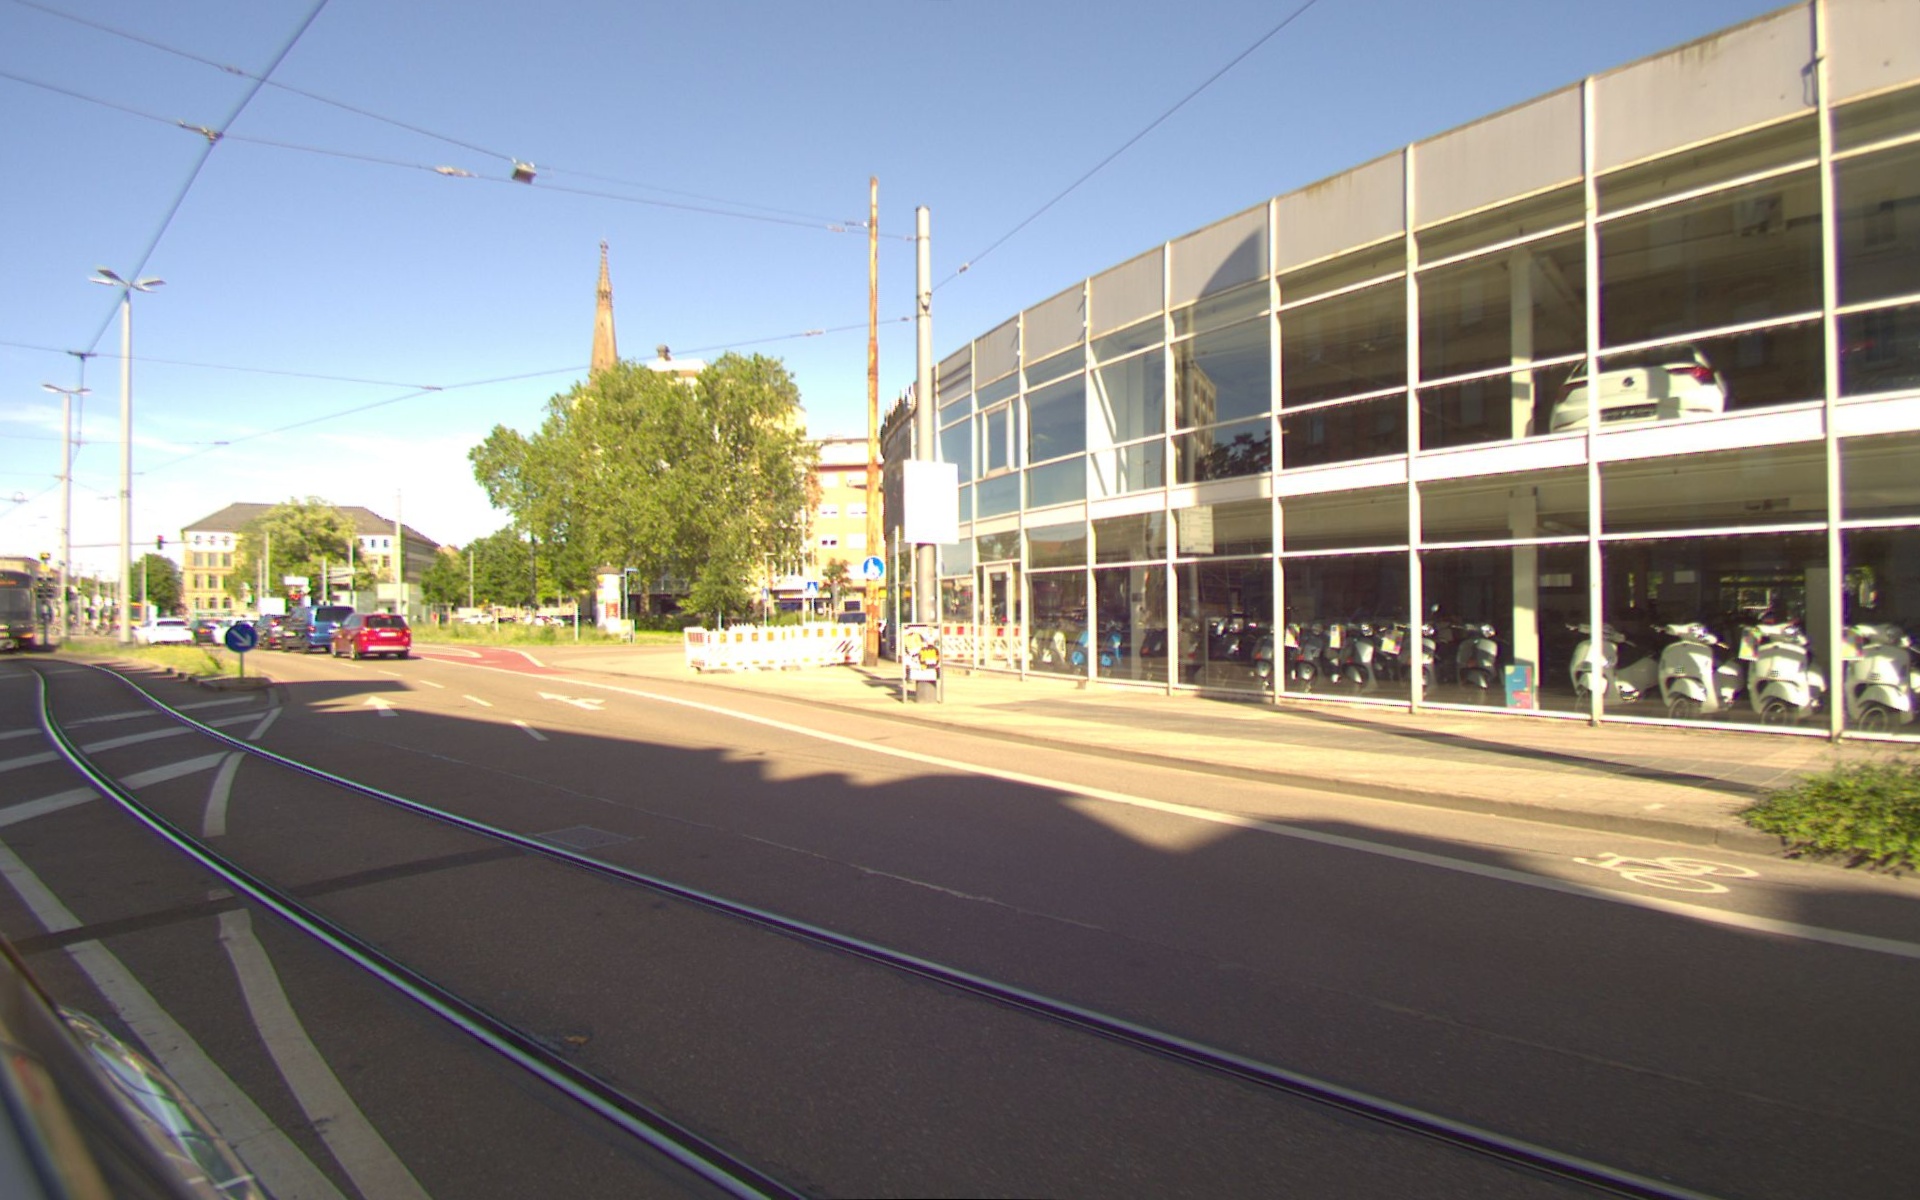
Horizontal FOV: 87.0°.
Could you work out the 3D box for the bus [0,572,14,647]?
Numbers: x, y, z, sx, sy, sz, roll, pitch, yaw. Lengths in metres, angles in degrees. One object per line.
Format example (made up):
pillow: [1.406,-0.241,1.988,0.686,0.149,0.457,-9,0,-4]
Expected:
bus: [-50.986,0.535,51.845,10.723,3.617,2.811,-1,0,42]

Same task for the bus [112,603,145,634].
bus: [-101.292,2.204,123.376,2.805,3.144,11.845,-2,3,-38]

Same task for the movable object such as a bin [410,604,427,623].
movable object such as a bin: [-47.722,1.184,89.213,0.926,1.646,0.989,-1,1,7]

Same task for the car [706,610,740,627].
car: [-21.454,1.675,91.804,1.973,1.510,3.997,-1,-1,2]

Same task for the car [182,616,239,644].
car: [-40.512,1.603,54.677,3.969,1.490,1.632,-1,-2,41]

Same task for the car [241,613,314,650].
car: [-31.455,1.413,46.605,4.163,1.590,1.784,0,-1,41]

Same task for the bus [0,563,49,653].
bus: [-42.725,0.397,44.429,11.266,3.617,2.811,-1,0,42]

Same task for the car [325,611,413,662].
car: [-21.515,1.256,36.771,1.778,1.732,4.420,1,-1,-44]

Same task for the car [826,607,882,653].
car: [-3.925,1.073,36.932,1.730,1.548,4.008,-2,-1,-9]

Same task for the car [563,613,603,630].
car: [-35.405,1.970,95.105,1.723,1.510,3.988,-1,-1,10]

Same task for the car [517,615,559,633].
car: [-45.651,2.610,109.562,3.932,1.765,2.006,-2,1,-31]

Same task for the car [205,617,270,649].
car: [-36.507,1.642,51.124,3.998,1.443,1.784,0,1,41]

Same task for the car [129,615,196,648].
car: [-39.049,1.492,49.515,4.539,1.443,1.784,0,2,41]

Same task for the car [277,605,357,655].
car: [-26.609,1.191,41.821,4.165,1.948,1.783,0,-1,43]
